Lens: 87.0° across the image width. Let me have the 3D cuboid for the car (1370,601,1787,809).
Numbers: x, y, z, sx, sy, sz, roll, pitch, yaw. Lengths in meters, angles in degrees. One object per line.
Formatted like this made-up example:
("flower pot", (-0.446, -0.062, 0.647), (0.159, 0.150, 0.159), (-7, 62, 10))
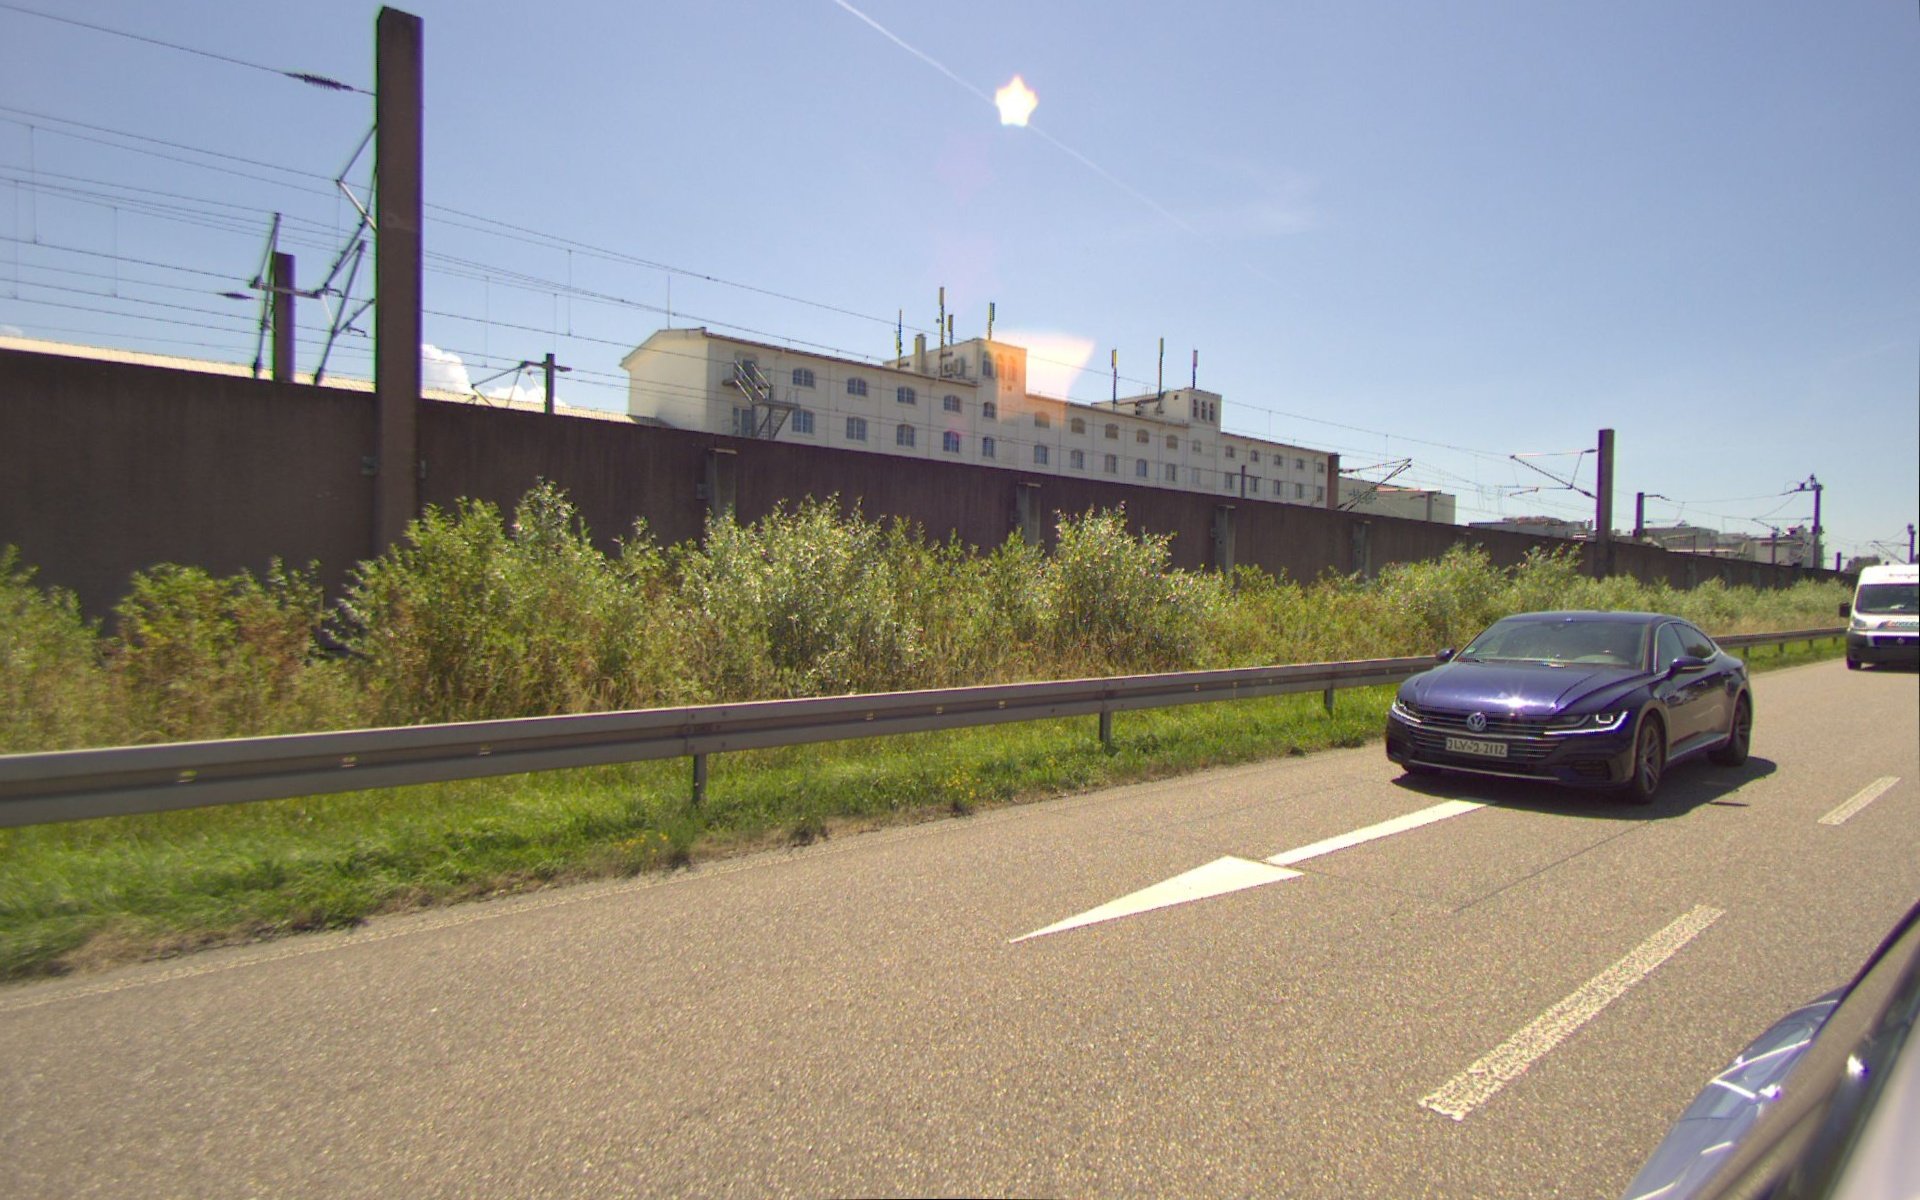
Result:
("car", (5.630, 0.715, 8.972), (4.423, 1.397, 1.860), (0, 0, -40))

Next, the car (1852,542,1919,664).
("car", (23.245, 0.061, 24.033), (6.632, 2.637, 2.192), (0, -1, -41))
